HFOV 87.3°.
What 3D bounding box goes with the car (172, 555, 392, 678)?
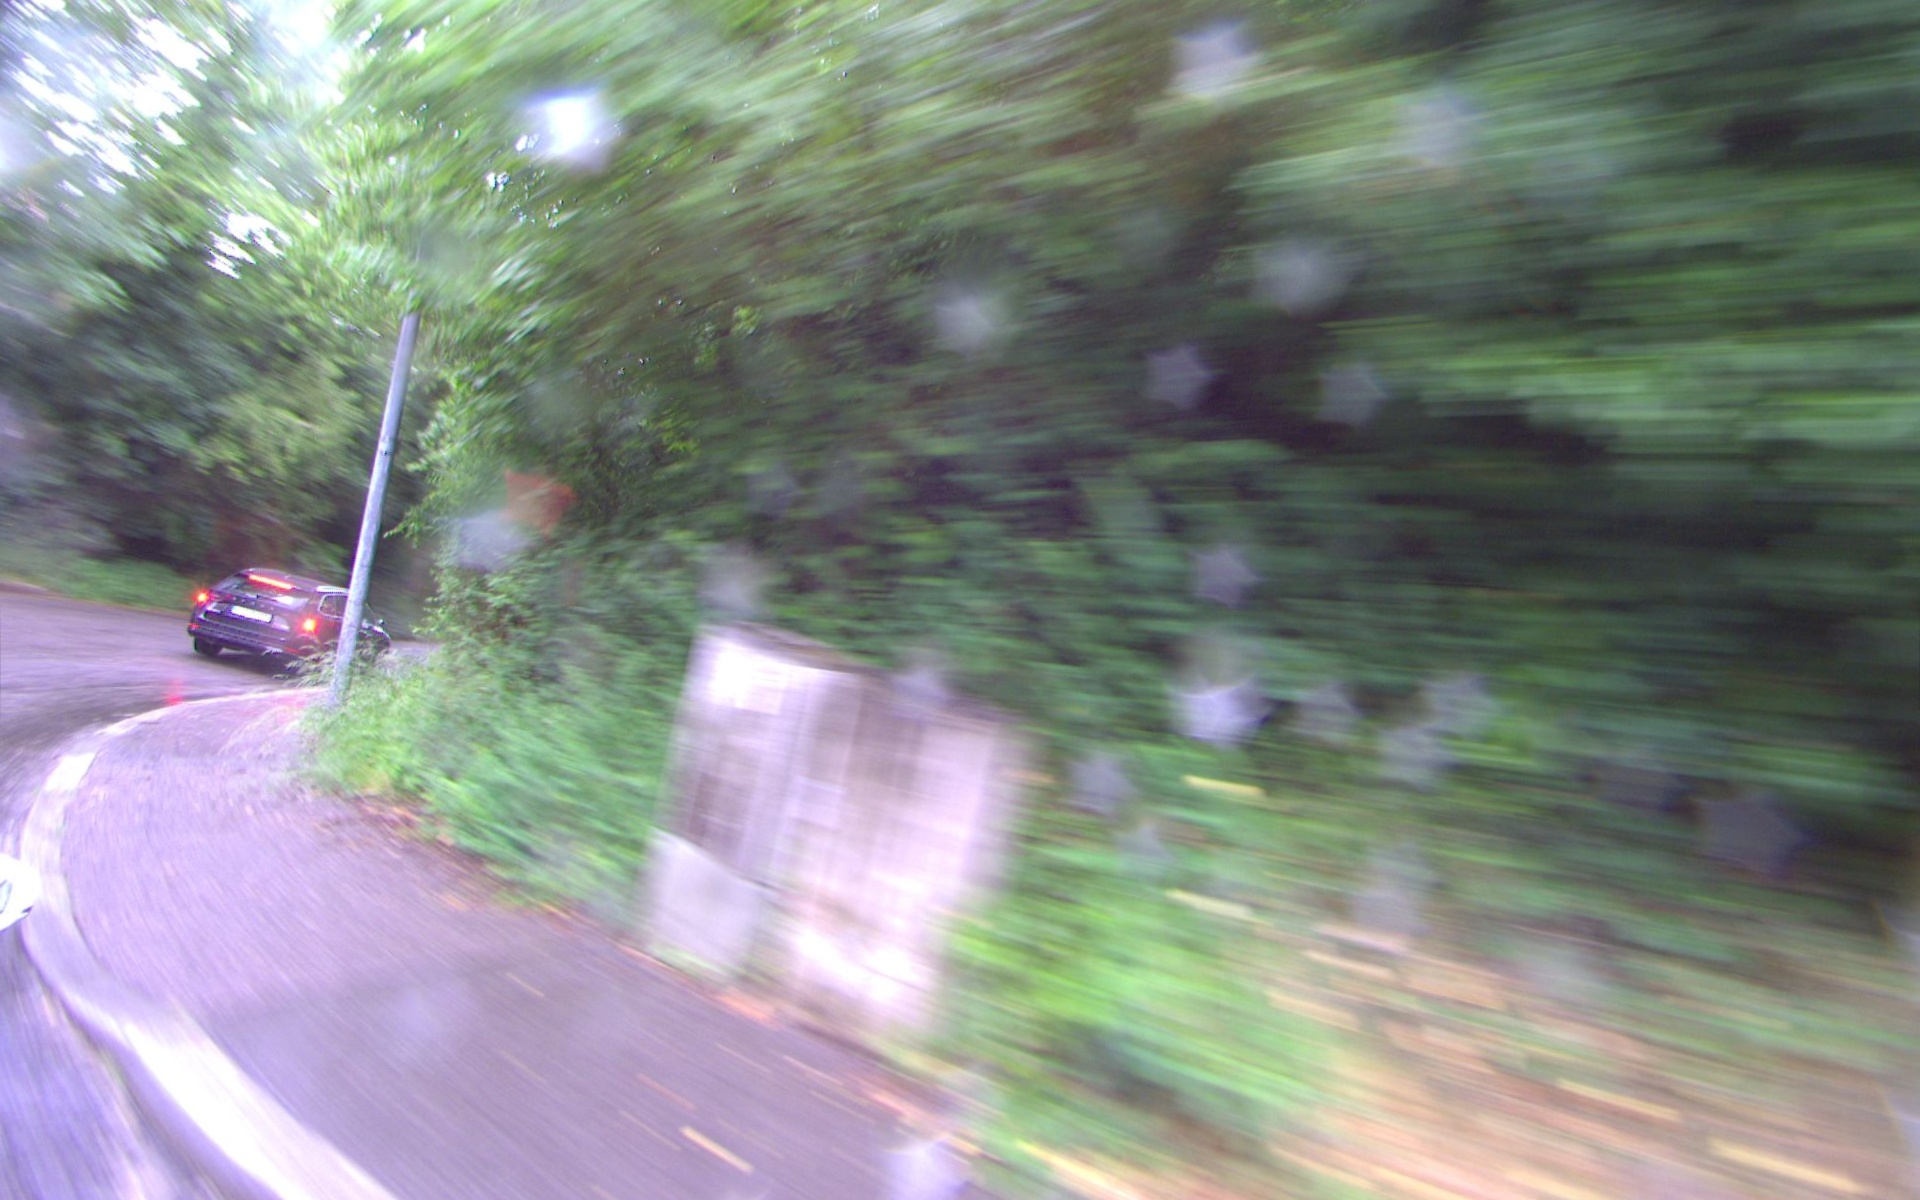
[{"bbox_3d":[-10.721,0.225,16.259,1.682,1.466,3.986,11,-2,-18],"label":"car"}]
